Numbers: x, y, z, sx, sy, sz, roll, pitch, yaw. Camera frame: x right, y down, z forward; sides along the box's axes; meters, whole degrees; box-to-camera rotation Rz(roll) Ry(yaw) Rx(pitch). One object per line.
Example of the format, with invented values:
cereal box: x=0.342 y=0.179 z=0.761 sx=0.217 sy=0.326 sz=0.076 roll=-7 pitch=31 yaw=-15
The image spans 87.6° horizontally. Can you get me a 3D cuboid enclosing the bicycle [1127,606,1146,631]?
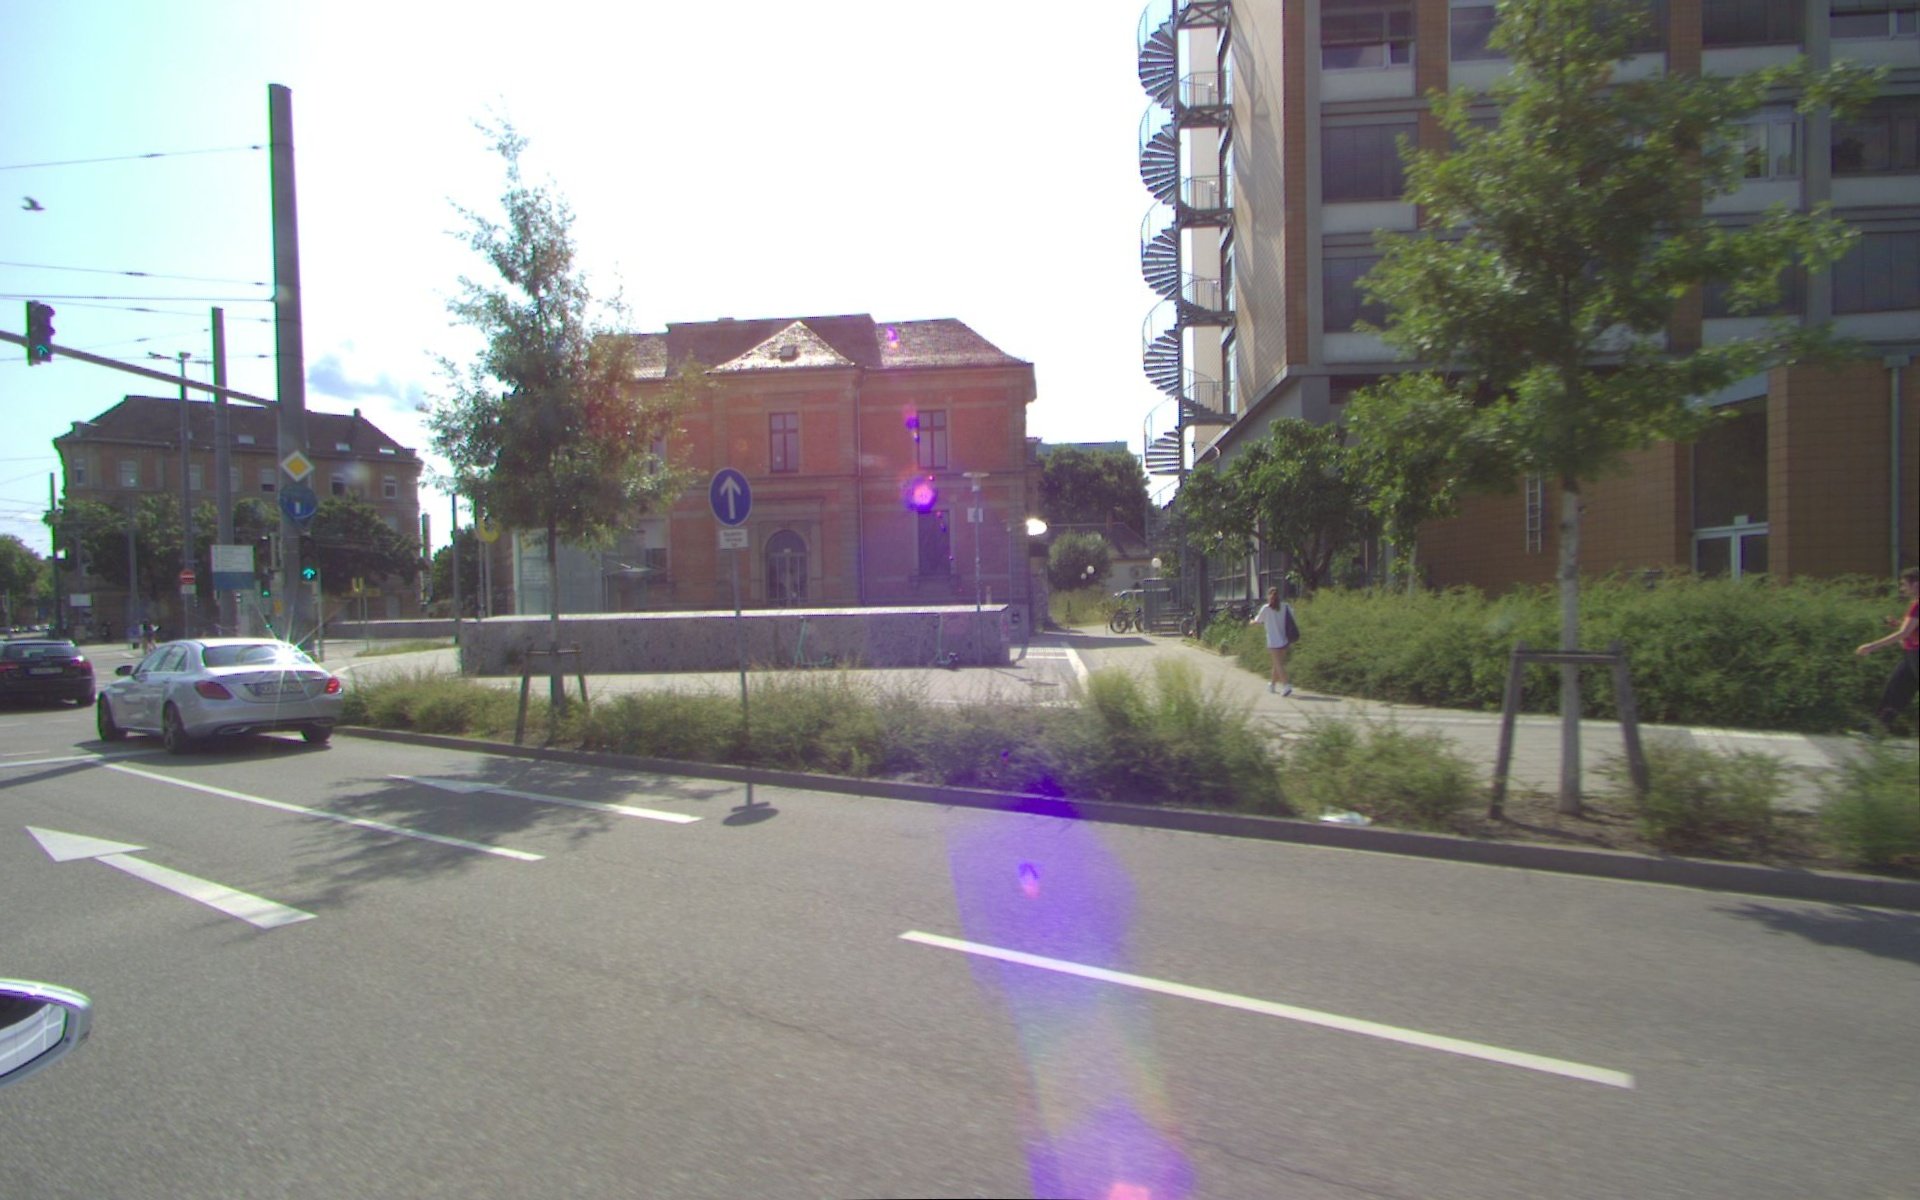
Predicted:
bicycle: x=7.442 y=0.785 z=42.305 sx=0.536 sy=1.002 sz=1.507 roll=-4 pitch=0 yaw=3

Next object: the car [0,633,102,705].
car: x=-20.000 y=1.431 z=21.530 sx=4.084 sy=1.390 sz=1.691 roll=-2 pitch=-1 yaw=40

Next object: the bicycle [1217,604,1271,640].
bicycle: x=8.754 y=0.677 z=30.904 sx=1.478 sy=1.002 sz=0.547 roll=-4 pitch=1 yaw=2

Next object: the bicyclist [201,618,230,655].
bicyclist: x=-26.092 y=1.257 z=35.086 sx=0.630 sy=1.237 sz=0.914 roll=-4 pitch=3 yaw=-44

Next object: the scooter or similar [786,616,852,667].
scooter or similar: x=-3.237 y=0.945 z=23.034 sx=1.419 sy=1.133 sz=0.465 roll=-1 pitch=2 yaw=11

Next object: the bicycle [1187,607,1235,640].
bicycle: x=8.535 y=0.787 z=34.075 sx=1.478 sy=1.002 sz=0.547 roll=-4 pitch=1 yaw=2

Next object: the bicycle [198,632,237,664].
bicycle: x=-26.088 y=1.665 z=35.158 sx=0.840 sy=0.983 sz=1.942 roll=-5 pitch=3 yaw=-43

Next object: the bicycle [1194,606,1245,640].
bicycle: x=8.636 y=0.757 z=33.343 sx=1.478 sy=1.002 sz=0.547 roll=-4 pitch=1 yaw=2

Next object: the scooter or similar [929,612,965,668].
scooter or similar: x=-0.298 y=0.850 z=21.721 sx=0.457 sy=1.119 sz=1.316 roll=-2 pitch=1 yaw=-14

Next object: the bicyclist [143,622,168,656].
bicyclist: x=-35.459 y=1.731 z=44.139 sx=0.763 sy=1.470 sz=0.606 roll=-1 pitch=0 yaw=33

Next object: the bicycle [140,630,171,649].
bicycle: x=-35.457 y=1.749 z=44.116 sx=1.598 sy=0.786 sz=0.583 roll=-1 pitch=0 yaw=33

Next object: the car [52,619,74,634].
car: x=-110.061 y=3.243 z=122.879 sx=1.821 sy=1.673 sz=3.969 roll=0 pitch=-2 yaw=-39

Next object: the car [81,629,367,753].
car: x=-10.474 y=1.156 z=14.143 sx=4.696 sy=1.474 sz=1.925 roll=-1 pitch=-2 yaw=36

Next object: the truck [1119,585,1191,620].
truck: x=12.084 y=0.157 z=62.267 sx=4.304 sy=2.039 sz=2.000 roll=-1 pitch=-2 yaw=9

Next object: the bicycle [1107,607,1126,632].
bicycle: x=6.606 y=0.812 z=42.300 sx=0.536 sy=1.002 sz=1.507 roll=-4 pitch=0 yaw=3

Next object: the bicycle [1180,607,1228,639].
bicycle: x=8.490 y=0.811 z=34.851 sx=1.478 sy=1.002 sz=0.547 roll=-4 pitch=1 yaw=2

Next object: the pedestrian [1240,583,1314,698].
pedestrian: x=4.770 y=0.583 z=15.132 sx=0.604 sy=1.644 sz=1.095 roll=-3 pitch=2 yaw=-8

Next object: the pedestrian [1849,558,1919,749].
pedestrian: x=8.483 y=0.459 z=8.884 sx=0.880 sy=1.645 sz=0.610 roll=-1 pitch=3 yaw=42

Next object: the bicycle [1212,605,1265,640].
bicycle: x=8.804 y=0.706 z=31.692 sx=1.478 sy=1.002 sz=0.547 roll=-4 pitch=1 yaw=2
